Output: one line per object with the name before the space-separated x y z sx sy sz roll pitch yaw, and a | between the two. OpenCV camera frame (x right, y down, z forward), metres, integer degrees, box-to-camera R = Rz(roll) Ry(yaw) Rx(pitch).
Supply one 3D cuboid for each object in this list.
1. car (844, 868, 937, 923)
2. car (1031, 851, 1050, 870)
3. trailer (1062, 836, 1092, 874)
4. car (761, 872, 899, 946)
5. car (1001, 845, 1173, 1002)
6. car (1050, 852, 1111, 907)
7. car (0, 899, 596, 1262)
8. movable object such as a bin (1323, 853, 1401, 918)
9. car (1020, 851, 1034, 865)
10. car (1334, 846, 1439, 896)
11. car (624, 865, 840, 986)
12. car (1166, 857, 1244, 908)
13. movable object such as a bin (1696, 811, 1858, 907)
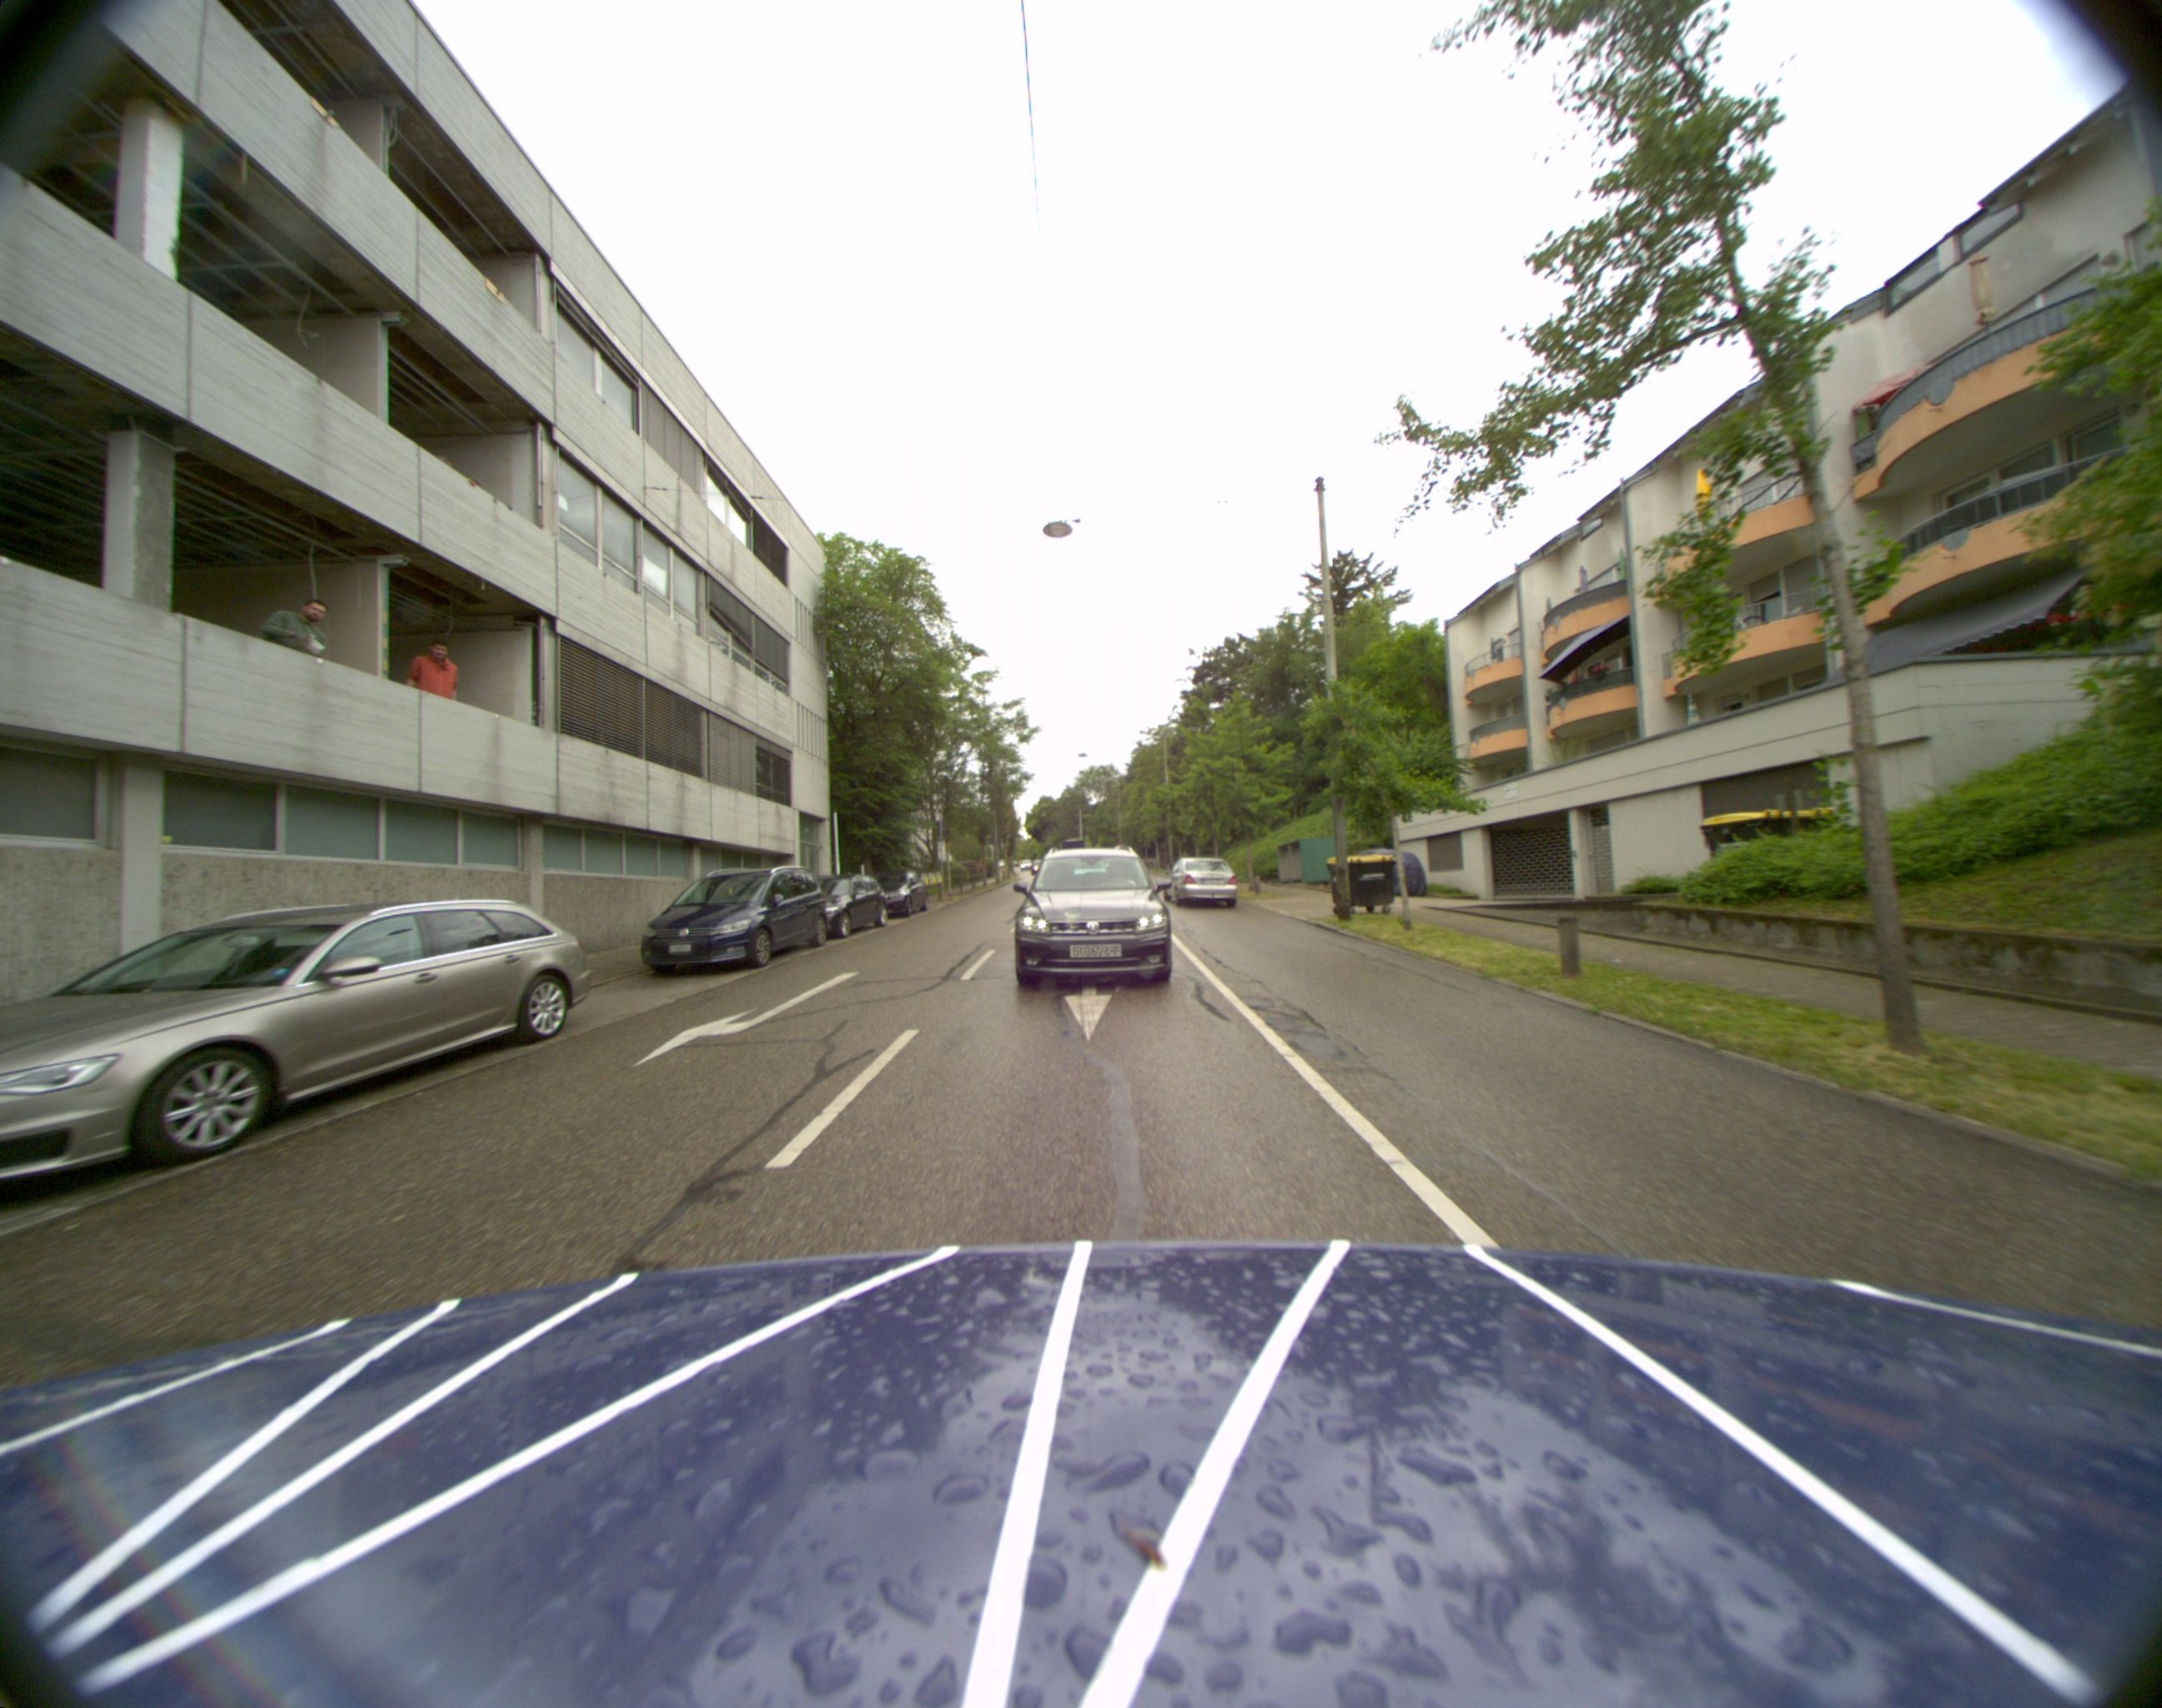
car | -5.900 1.241 24.039 1.843 1.436 4.155 -2 0 0
car | -4.712 0.715 88.477 1.999 2.002 3.998 -2 1 -3
trailer | -0.293 0.050 54.237 1.771 2.610 3.031 -2 1 -5
car | -5.977 1.244 18.636 1.710 1.436 4.098 -2 0 4
car | 0.103 0.745 10.330 1.786 1.632 4.200 -2 0 1
car | 0.019 0.778 25.431 1.786 1.632 4.200 -2 0 1
car | -6.156 1.258 5.841 1.819 1.451 4.741 -3 0 -1
movable object such as a bin | 6.314 0.685 17.129 1.226 1.342 1.122 -3 1 -7
car | -8.009 0.594 113.286 1.999 2.002 3.998 -2 1 -3
car | 10.129 0.533 25.495 1.856 1.483 3.865 2 0 -1
car | -5.932 1.110 13.581 1.749 1.665 4.344 -2 0 0
car | 3.615 0.785 22.833 1.723 1.376 4.285 0 0 1
movable object such as a bin | 10.337 0.102 11.352 1.266 1.307 1.162 -3 -3 -7
